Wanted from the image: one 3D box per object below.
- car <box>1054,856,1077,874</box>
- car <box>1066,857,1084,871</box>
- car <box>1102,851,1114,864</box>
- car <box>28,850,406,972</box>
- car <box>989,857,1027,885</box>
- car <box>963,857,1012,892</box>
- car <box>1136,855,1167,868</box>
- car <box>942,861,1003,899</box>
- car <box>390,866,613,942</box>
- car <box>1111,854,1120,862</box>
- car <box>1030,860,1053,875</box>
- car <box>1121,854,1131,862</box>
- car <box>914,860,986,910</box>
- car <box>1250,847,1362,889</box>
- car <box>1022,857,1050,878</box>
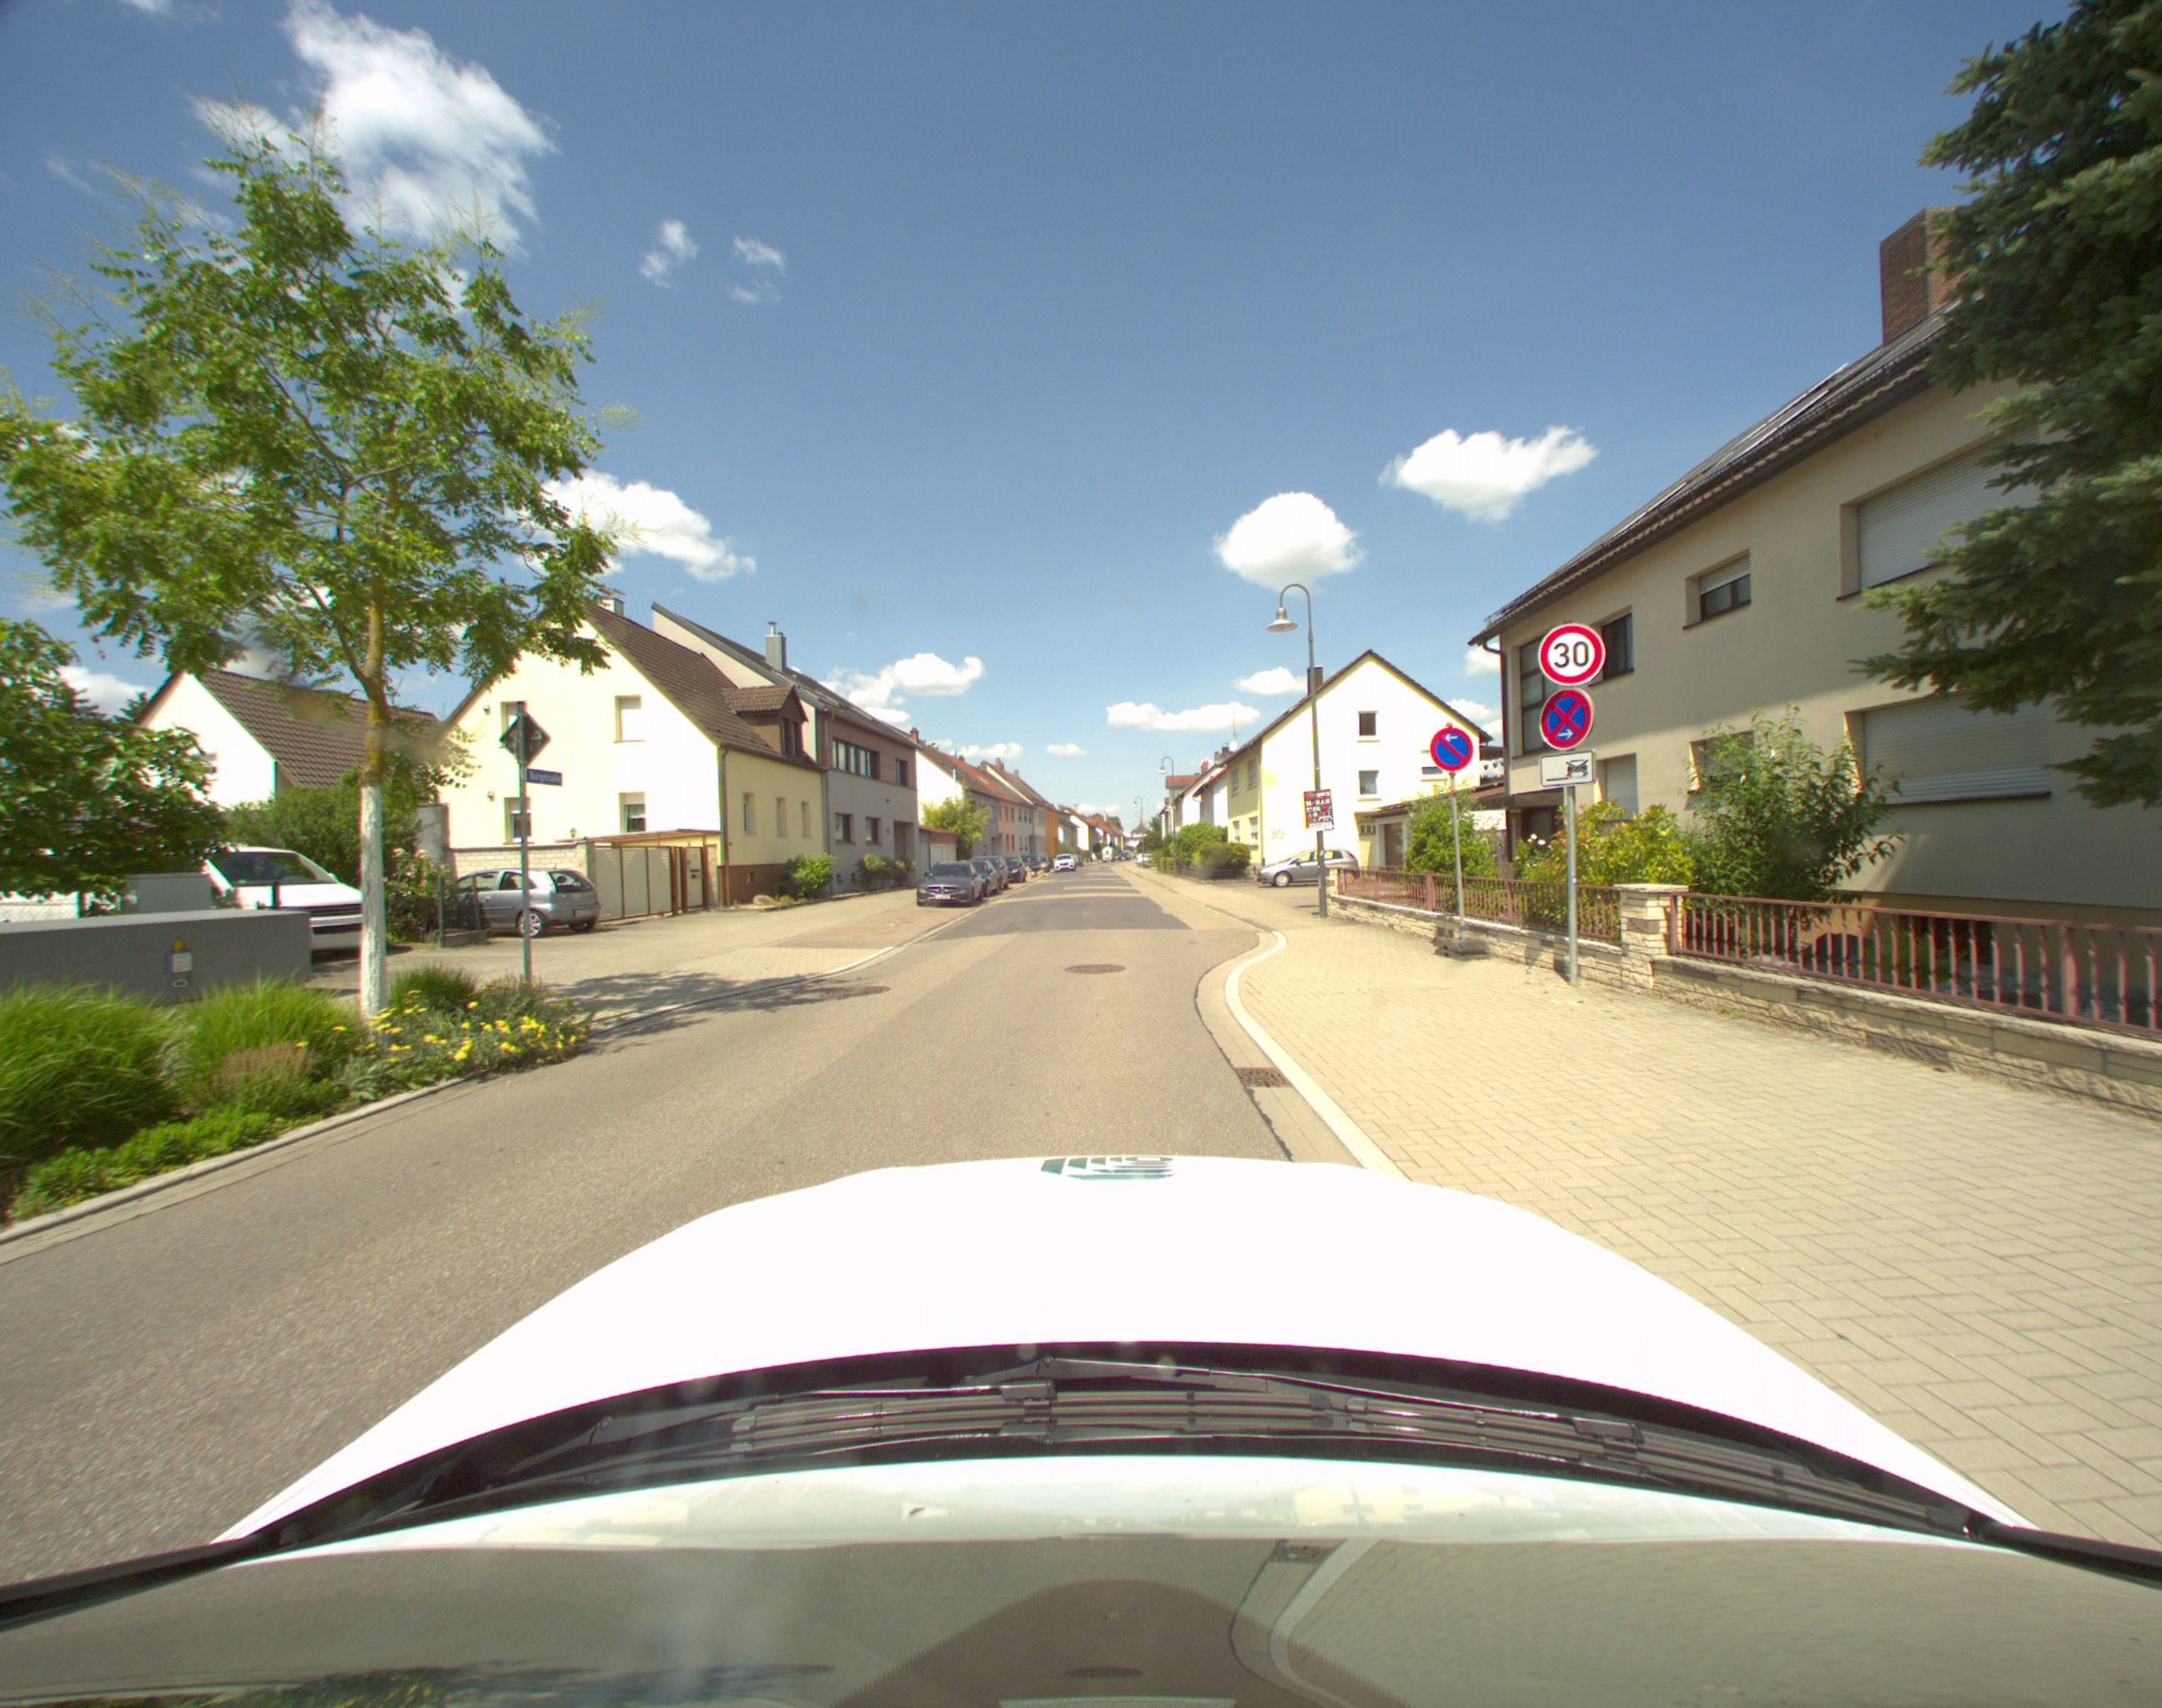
[{"bbox_3d":[-1.432,1.044,76.897,1.841,1.659,4.005,0,0,4],"label":"car"},{"bbox_3d":[-0.727,1.191,98.633,1.841,1.659,4.005,0,0,4],"label":"car"},{"bbox_3d":[4.871,0.643,146.771,2.035,2.312,3.776,0,-1,5],"label":"car"},{"bbox_3d":[-13.620,0.845,13.035,3.971,1.800,2.001,0,0,2],"label":"car"},{"bbox_3d":[-4.348,0.983,49.001,1.772,1.609,4.002,0,0,2],"label":"car"},{"bbox_3d":[-4.443,0.959,39.314,1.772,1.609,4.002,0,0,2],"label":"car"},{"bbox_3d":[7.992,0.874,92.577,3.510,1.464,1.629,0,-1,2],"label":"car"},{"bbox_3d":[-4.420,1.039,33.638,1.809,1.433,4.141,0,0,2],"label":"car"},{"bbox_3d":[-12.186,1.025,17.274,3.507,1.471,1.795,0,0,5],"label":"car"},{"bbox_3d":[7.075,0.797,168.700,1.683,1.504,3.776,0,-1,5],"label":"car"},{"bbox_3d":[-3.654,1.233,75.954,1.664,1.336,3.726,0,0,4],"label":"car"},{"bbox_3d":[8.277,0.739,150.544,1.683,1.341,3.776,0,-1,5],"label":"car"},{"bbox_3d":[-4.409,1.000,28.007,1.811,1.433,4.138,2,1,-1],"label":"car"},{"bbox_3d":[8.884,0.552,32.363,3.972,1.473,1.747,-2,0,1],"label":"car"},{"bbox_3d":[-3.517,1.012,63.775,1.804,1.609,4.002,0,0,2],"label":"car"}]
